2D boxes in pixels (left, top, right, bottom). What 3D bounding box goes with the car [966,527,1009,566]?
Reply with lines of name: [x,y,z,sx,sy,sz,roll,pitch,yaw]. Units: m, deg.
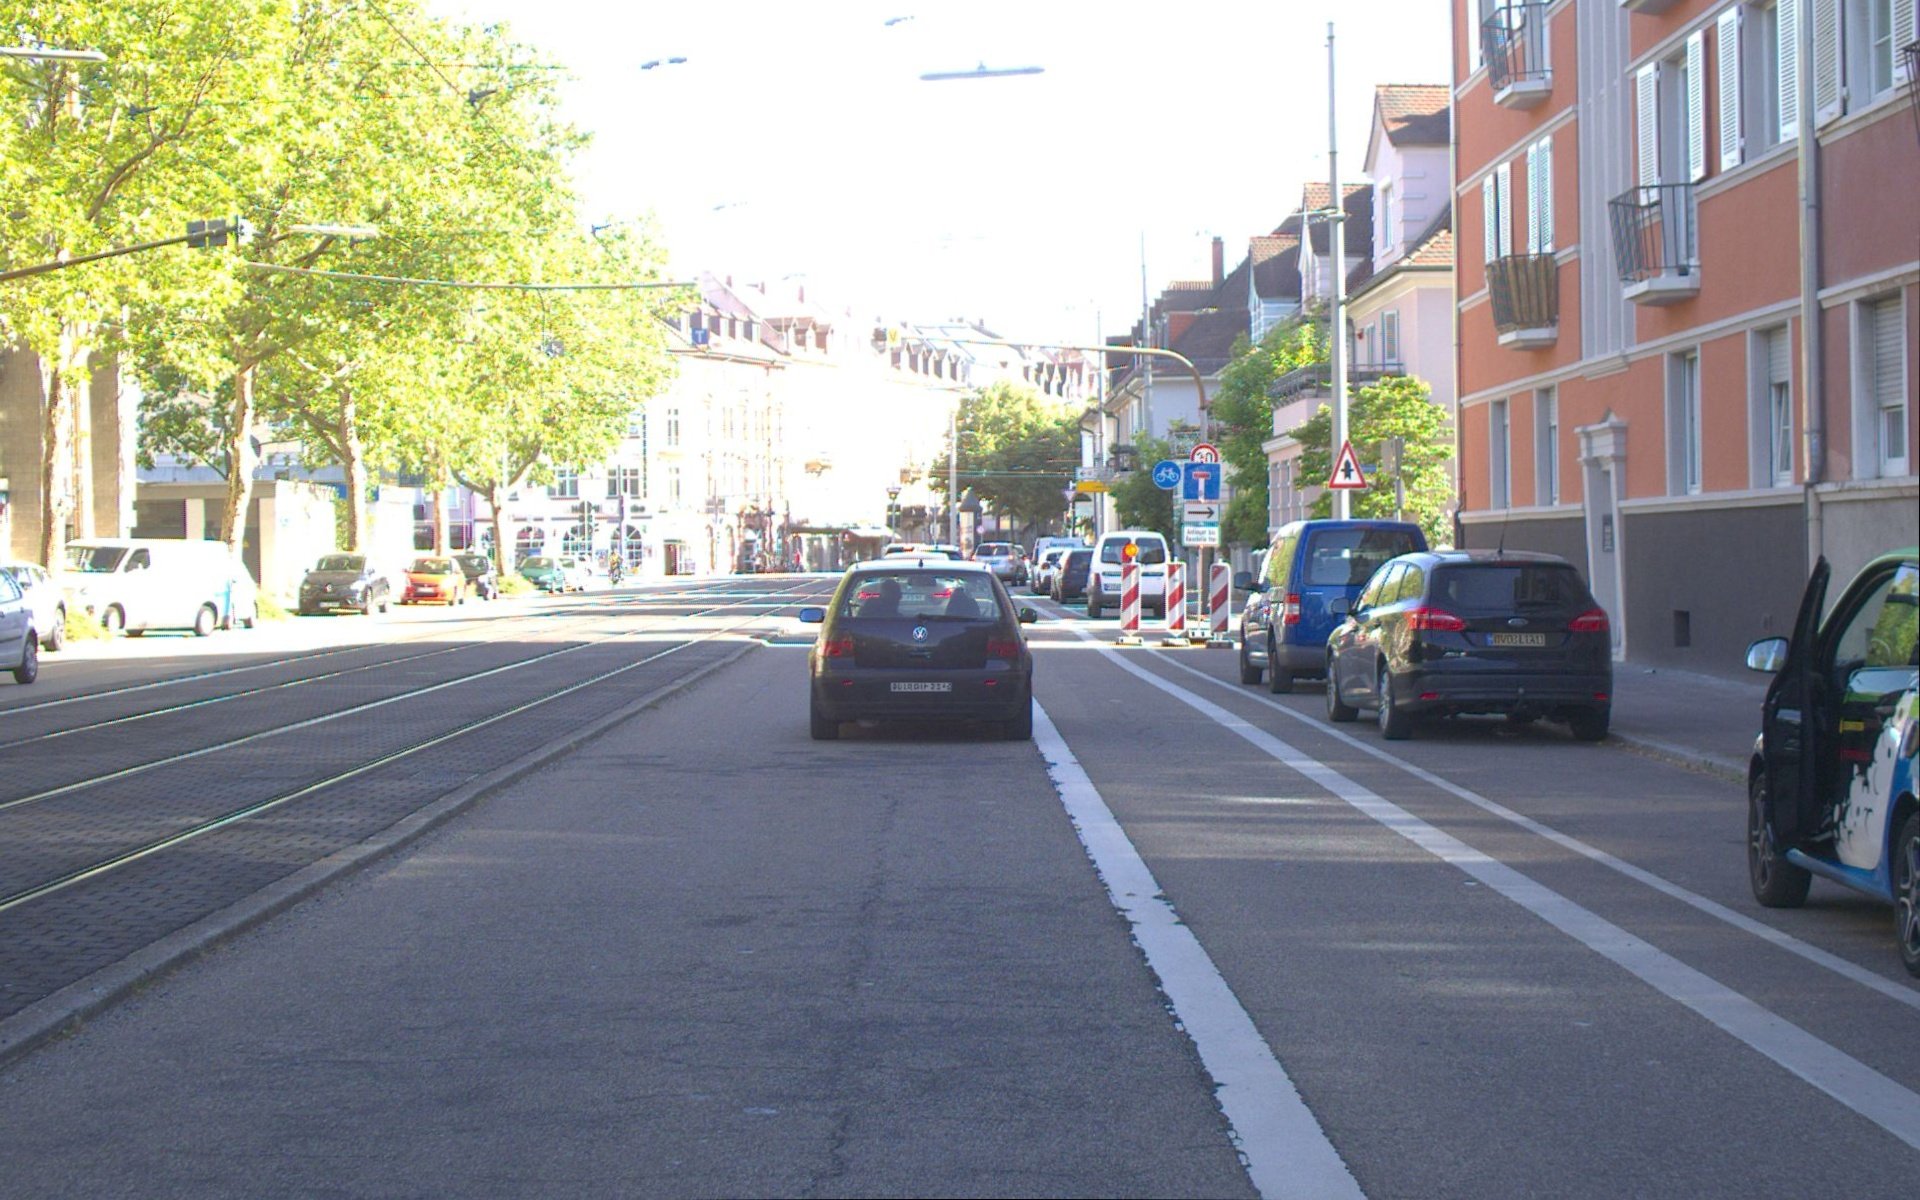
car: [1.067,-2.106,134.675,1.636,1.467,3.729,-1,1,0]

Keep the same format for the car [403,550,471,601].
car: [-16.283,-0.757,107.180,1.570,1.528,3.572,-1,0,0]

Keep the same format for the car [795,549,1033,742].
car: [-0.400,0.309,27.489,1.748,1.370,4.001,-1,1,-2]

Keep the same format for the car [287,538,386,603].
car: [-16.406,-0.803,90.584,1.888,1.660,4.000,-1,1,0]

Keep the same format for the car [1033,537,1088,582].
car: [3.186,-1.302,109.709,1.580,1.370,4.000,-1,1,0]

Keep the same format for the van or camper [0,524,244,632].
van or camper: [-16.116,-0.456,66.374,2.062,1.943,5.184,2,1,20]

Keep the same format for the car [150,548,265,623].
car: [-16.134,-0.330,73.839,1.574,1.502,4.090,1,1,0]

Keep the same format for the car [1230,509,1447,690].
car: [3.970,-0.046,36.651,1.702,1.804,4.272,0,1,-2]

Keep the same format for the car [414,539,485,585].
car: [-17.258,-1.299,116.385,1.792,1.460,3.836,2,1,0]

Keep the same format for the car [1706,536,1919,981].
car: [4.105,0.522,13.323,1.631,1.506,3.717,1,1,1]

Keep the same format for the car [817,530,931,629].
car: [-1.380,-0.363,56.389,1.748,1.532,3.892,-1,1,0]

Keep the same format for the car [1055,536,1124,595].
car: [3.438,-0.949,91.838,1.661,1.520,4.036,-1,1,0]

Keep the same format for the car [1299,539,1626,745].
car: [4.020,0.278,28.281,1.753,1.506,4.763,1,1,-3]

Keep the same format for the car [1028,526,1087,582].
car: [3.233,-1.543,114.450,1.817,1.793,4.000,-1,1,0]

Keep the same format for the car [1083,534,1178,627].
car: [3.543,-0.434,72.083,1.759,1.831,3.548,1,1,0]

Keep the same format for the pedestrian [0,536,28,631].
pedestrian: [-18.667,-0.326,67.026,0.796,1.814,0.670,1,1,0]

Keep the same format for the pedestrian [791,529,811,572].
pedestrian: [-9.991,-3.112,215.956,1.096,2.650,0.959,1,1,2]

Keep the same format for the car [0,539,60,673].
car: [-11.733,0.106,39.048,1.753,1.513,4.071,-3,1,2]

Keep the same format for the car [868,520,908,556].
car: [-3.233,-2.768,154.149,1.636,1.467,3.729,-4,1,0]

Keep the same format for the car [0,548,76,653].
car: [-15.965,-0.038,56.028,2.011,1.567,4.694,1,1,-2]

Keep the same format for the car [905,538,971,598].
car: [-0.567,-0.835,87.411,1.636,1.467,3.729,-1,1,0]

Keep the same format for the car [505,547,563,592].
car: [-16.841,-1.213,135.995,1.883,1.663,3.805,1,1,-1]
